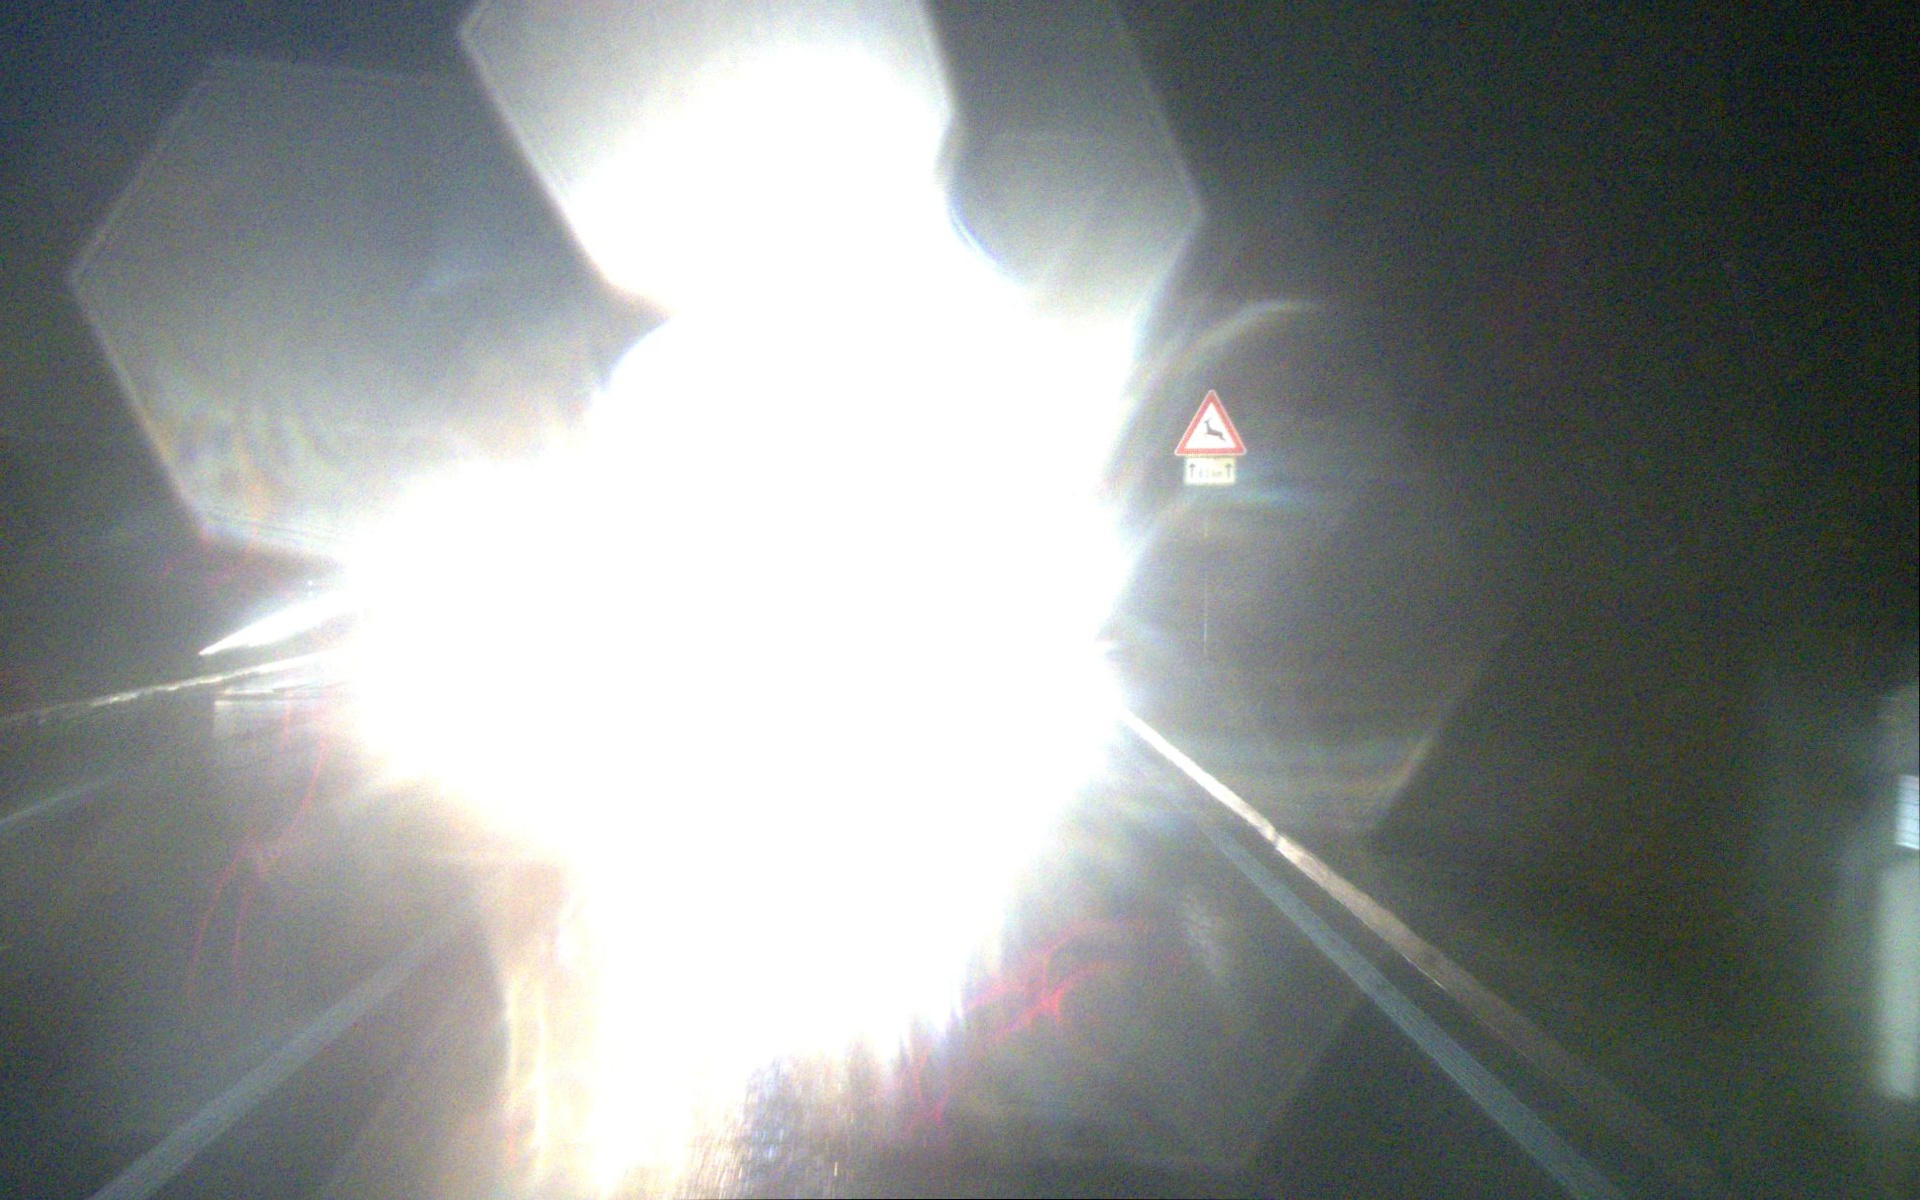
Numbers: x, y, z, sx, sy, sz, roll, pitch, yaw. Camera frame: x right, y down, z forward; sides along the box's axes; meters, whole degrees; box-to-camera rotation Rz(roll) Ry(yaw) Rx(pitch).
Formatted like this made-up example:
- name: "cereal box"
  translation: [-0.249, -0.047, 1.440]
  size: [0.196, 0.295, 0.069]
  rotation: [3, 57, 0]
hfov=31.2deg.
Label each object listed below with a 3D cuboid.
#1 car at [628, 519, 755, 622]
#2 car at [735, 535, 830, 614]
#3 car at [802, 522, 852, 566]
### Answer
- name: "car"
  translation: [-4.626, -0.549, 59.808]
  size: [1.888, 1.665, 4.000]
  rotation: [-1, 2, 0]
- name: "car"
  translation: [-3.862, -0.583, 75.348]
  size: [1.888, 1.580, 4.000]
  rotation: [-1, 2, 0]
- name: "car"
  translation: [-4.670, -1.990, 120.715]
  size: [1.700, 1.462, 4.042]
  rotation: [-1, 2, -2]
